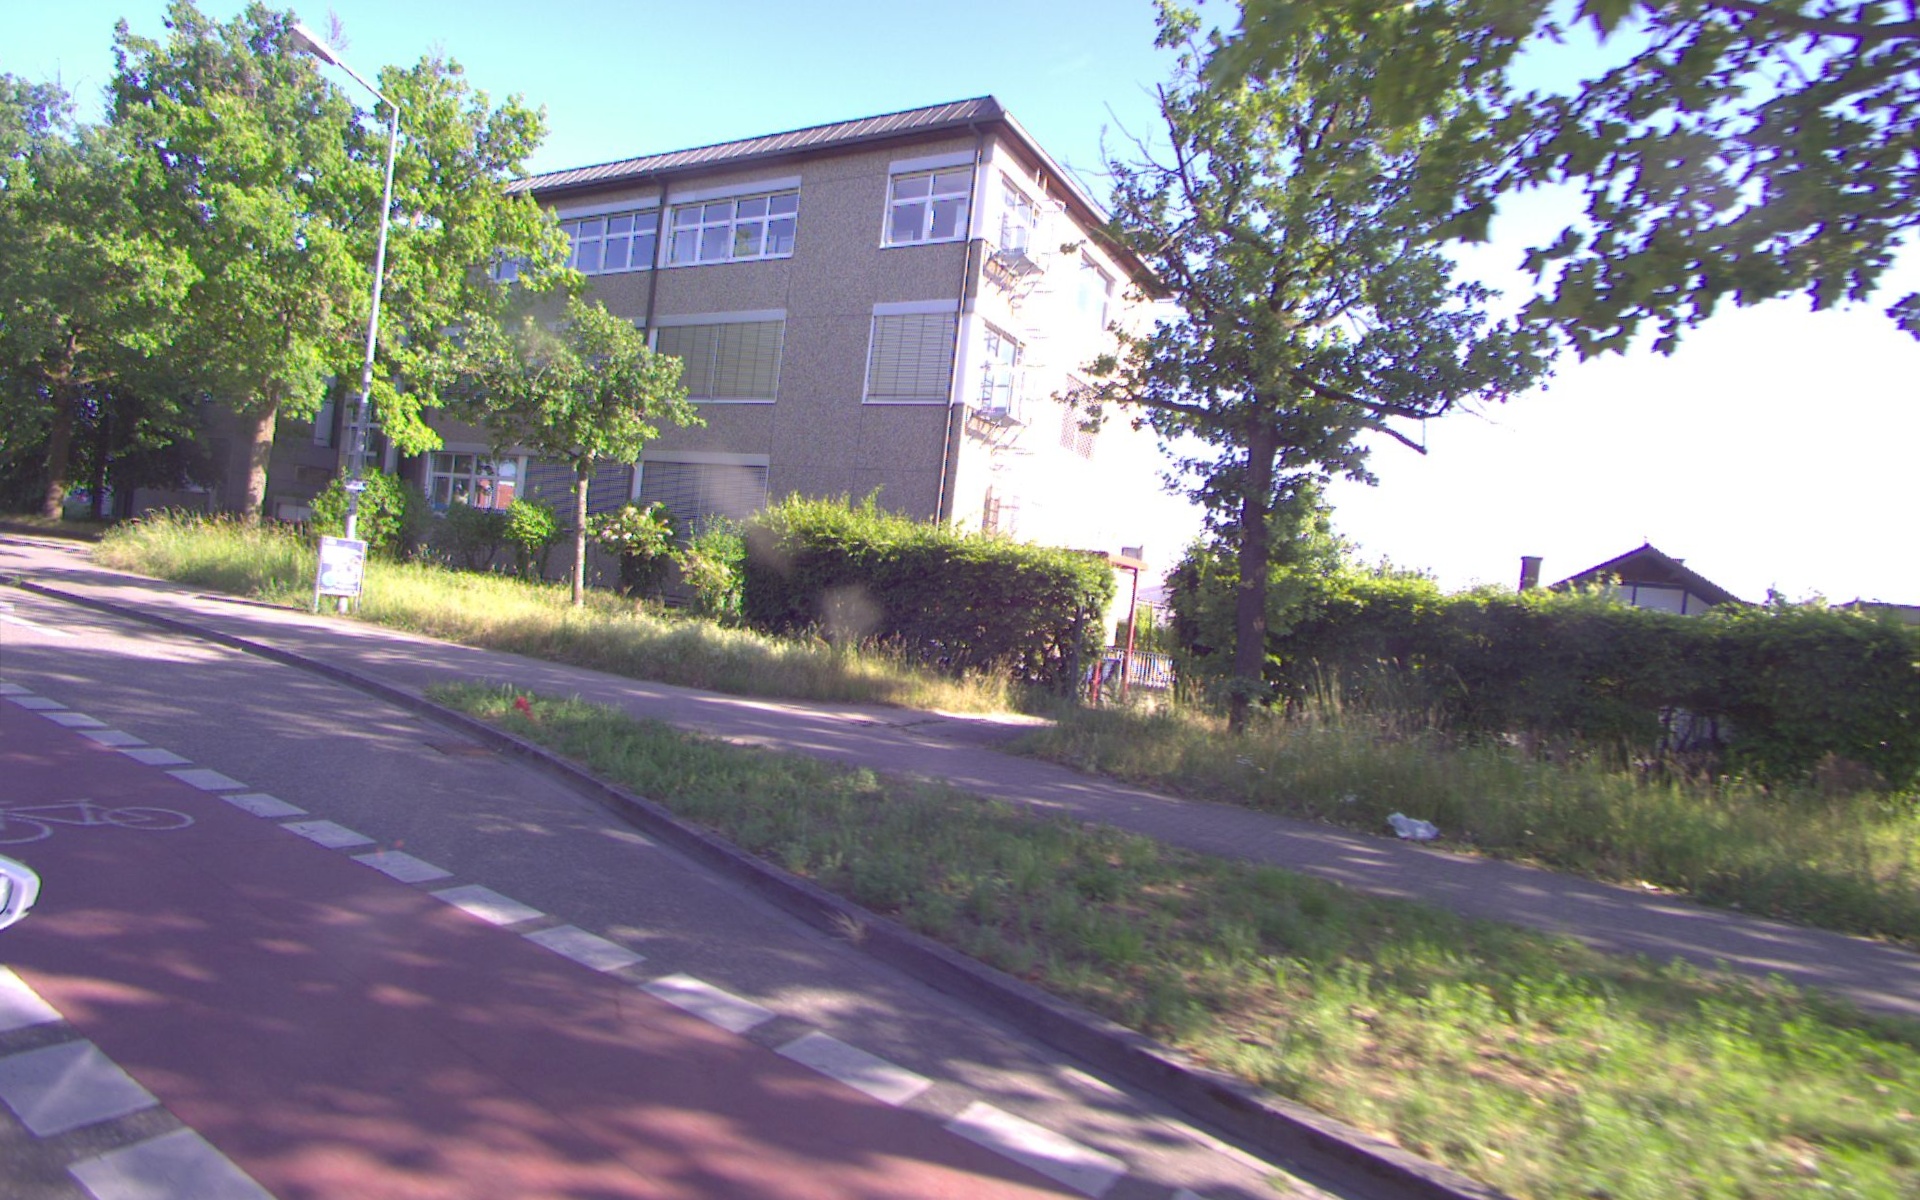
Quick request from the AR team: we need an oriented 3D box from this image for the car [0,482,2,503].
[{"bbox_3d":[-65.666,-7.329,65.217,1.965,1.559,4.713,7,0,27],"label":"car"}]
